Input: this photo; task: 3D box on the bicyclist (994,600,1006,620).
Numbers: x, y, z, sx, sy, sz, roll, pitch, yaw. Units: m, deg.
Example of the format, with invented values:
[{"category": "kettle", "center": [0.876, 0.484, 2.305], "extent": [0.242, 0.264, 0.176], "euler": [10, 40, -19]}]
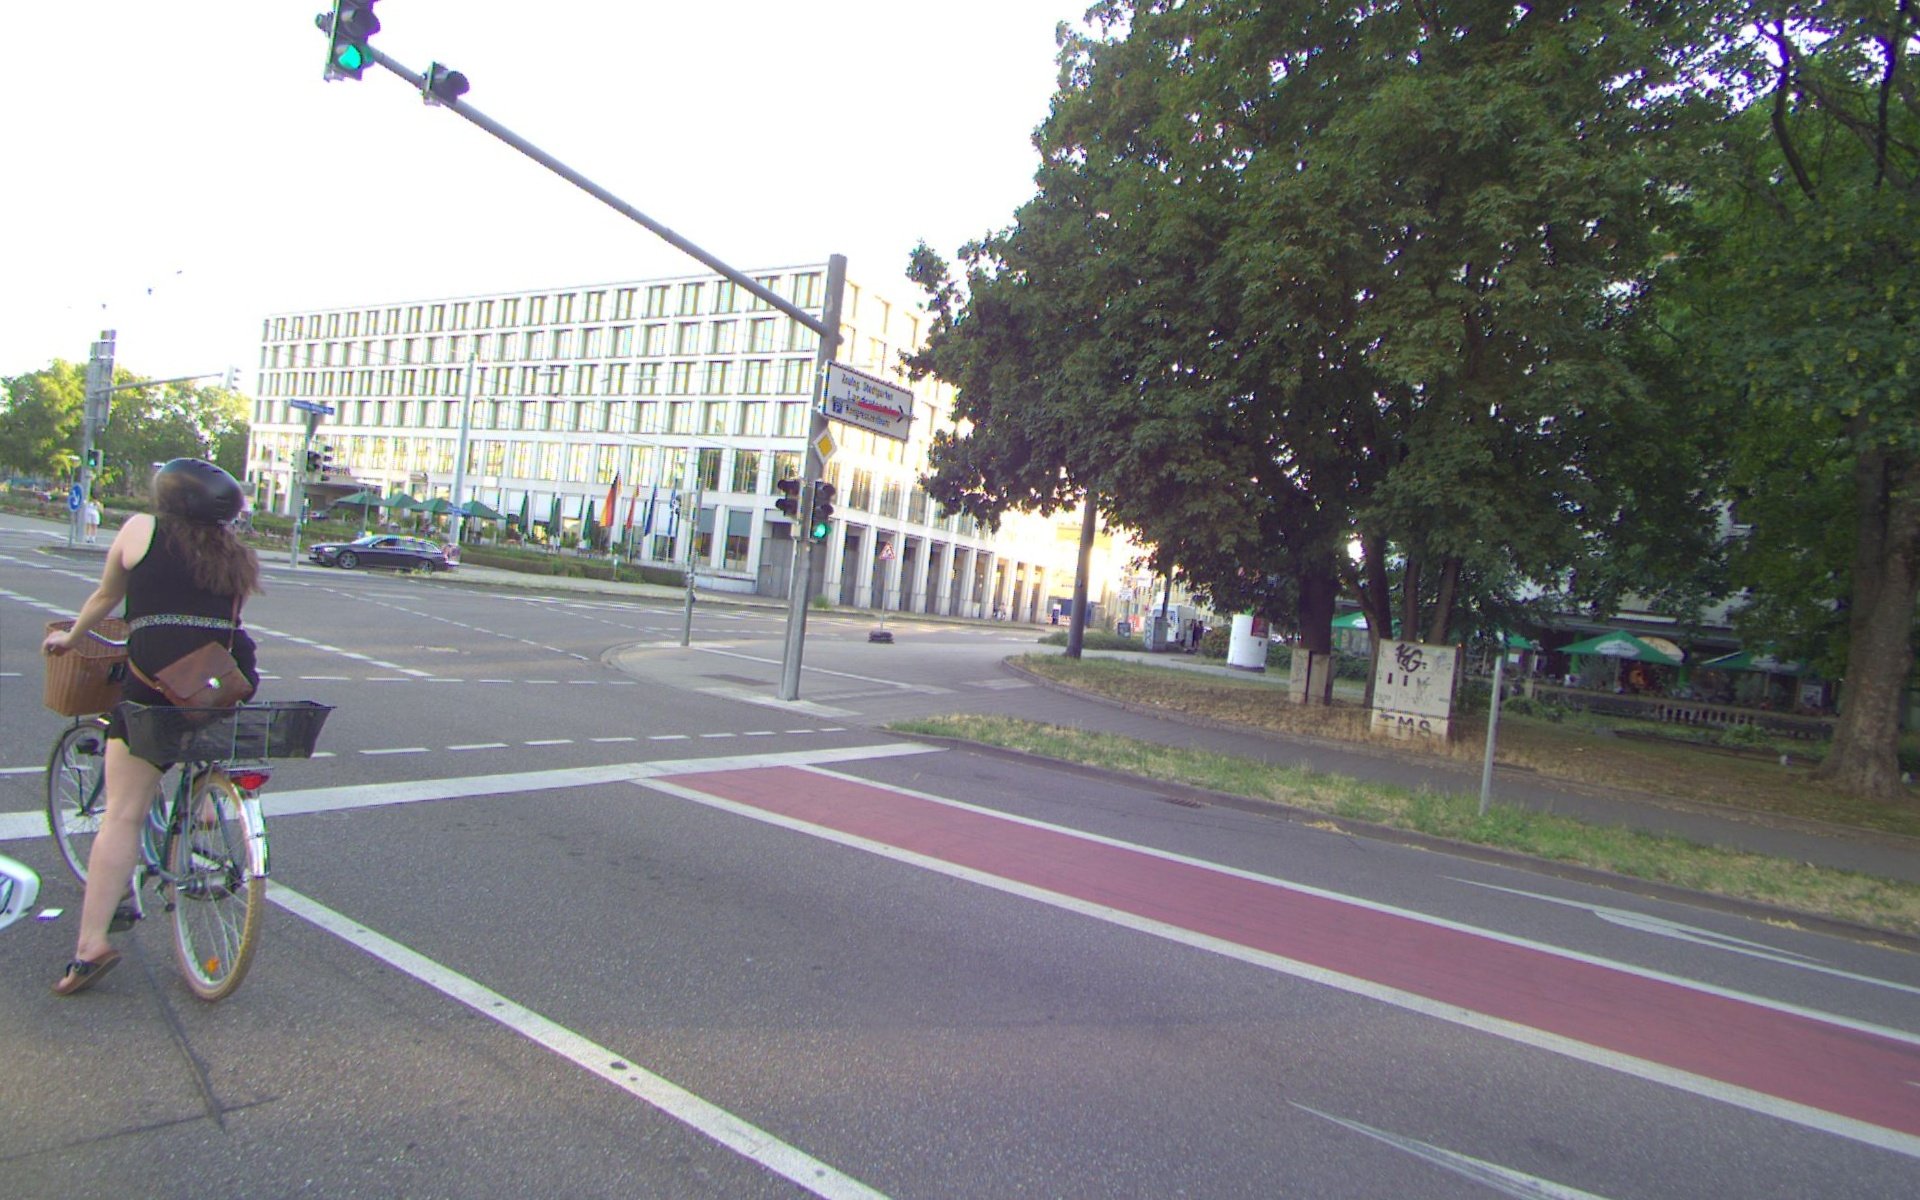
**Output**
[{"category": "bicyclist", "center": [3.176, 0.802, 79.550], "extent": [0.567, 1.556, 0.708], "euler": [7, 1, 29]}]

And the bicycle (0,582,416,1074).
[{"category": "bicycle", "center": [-2.784, 0.618, 3.451], "extent": [1.971, 1.146, 0.612], "euler": [7, -1, 32]}]

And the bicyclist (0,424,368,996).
[{"category": "bicyclist", "center": [-2.682, 0.298, 3.417], "extent": [0.982, 1.655, 0.600], "euler": [7, 0, 32]}]

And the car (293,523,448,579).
[{"category": "car", "center": [-23.029, -1.873, 39.493], "extent": [1.968, 1.534, 4.826], "euler": [7, 0, 34]}]

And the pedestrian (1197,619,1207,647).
[{"category": "pedestrian", "center": [13.404, 1.835, 55.688], "extent": [0.302, 1.525, 0.336], "euler": [7, -1, 31]}]

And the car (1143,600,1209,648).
[{"category": "car", "center": [11.976, 1.357, 55.531], "extent": [1.967, 2.318, 4.605], "euler": [6, 0, 31]}]

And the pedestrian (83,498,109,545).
[{"category": "pedestrian", "center": [-30.192, -2.742, 35.170], "extent": [0.402, 1.559, 0.491], "euler": [7, 2, 31]}]

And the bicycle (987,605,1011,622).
[{"category": "bicycle", "center": [3.118, 1.065, 79.444], "extent": [0.592, 1.120, 2.775], "euler": [7, 0, 29]}]
